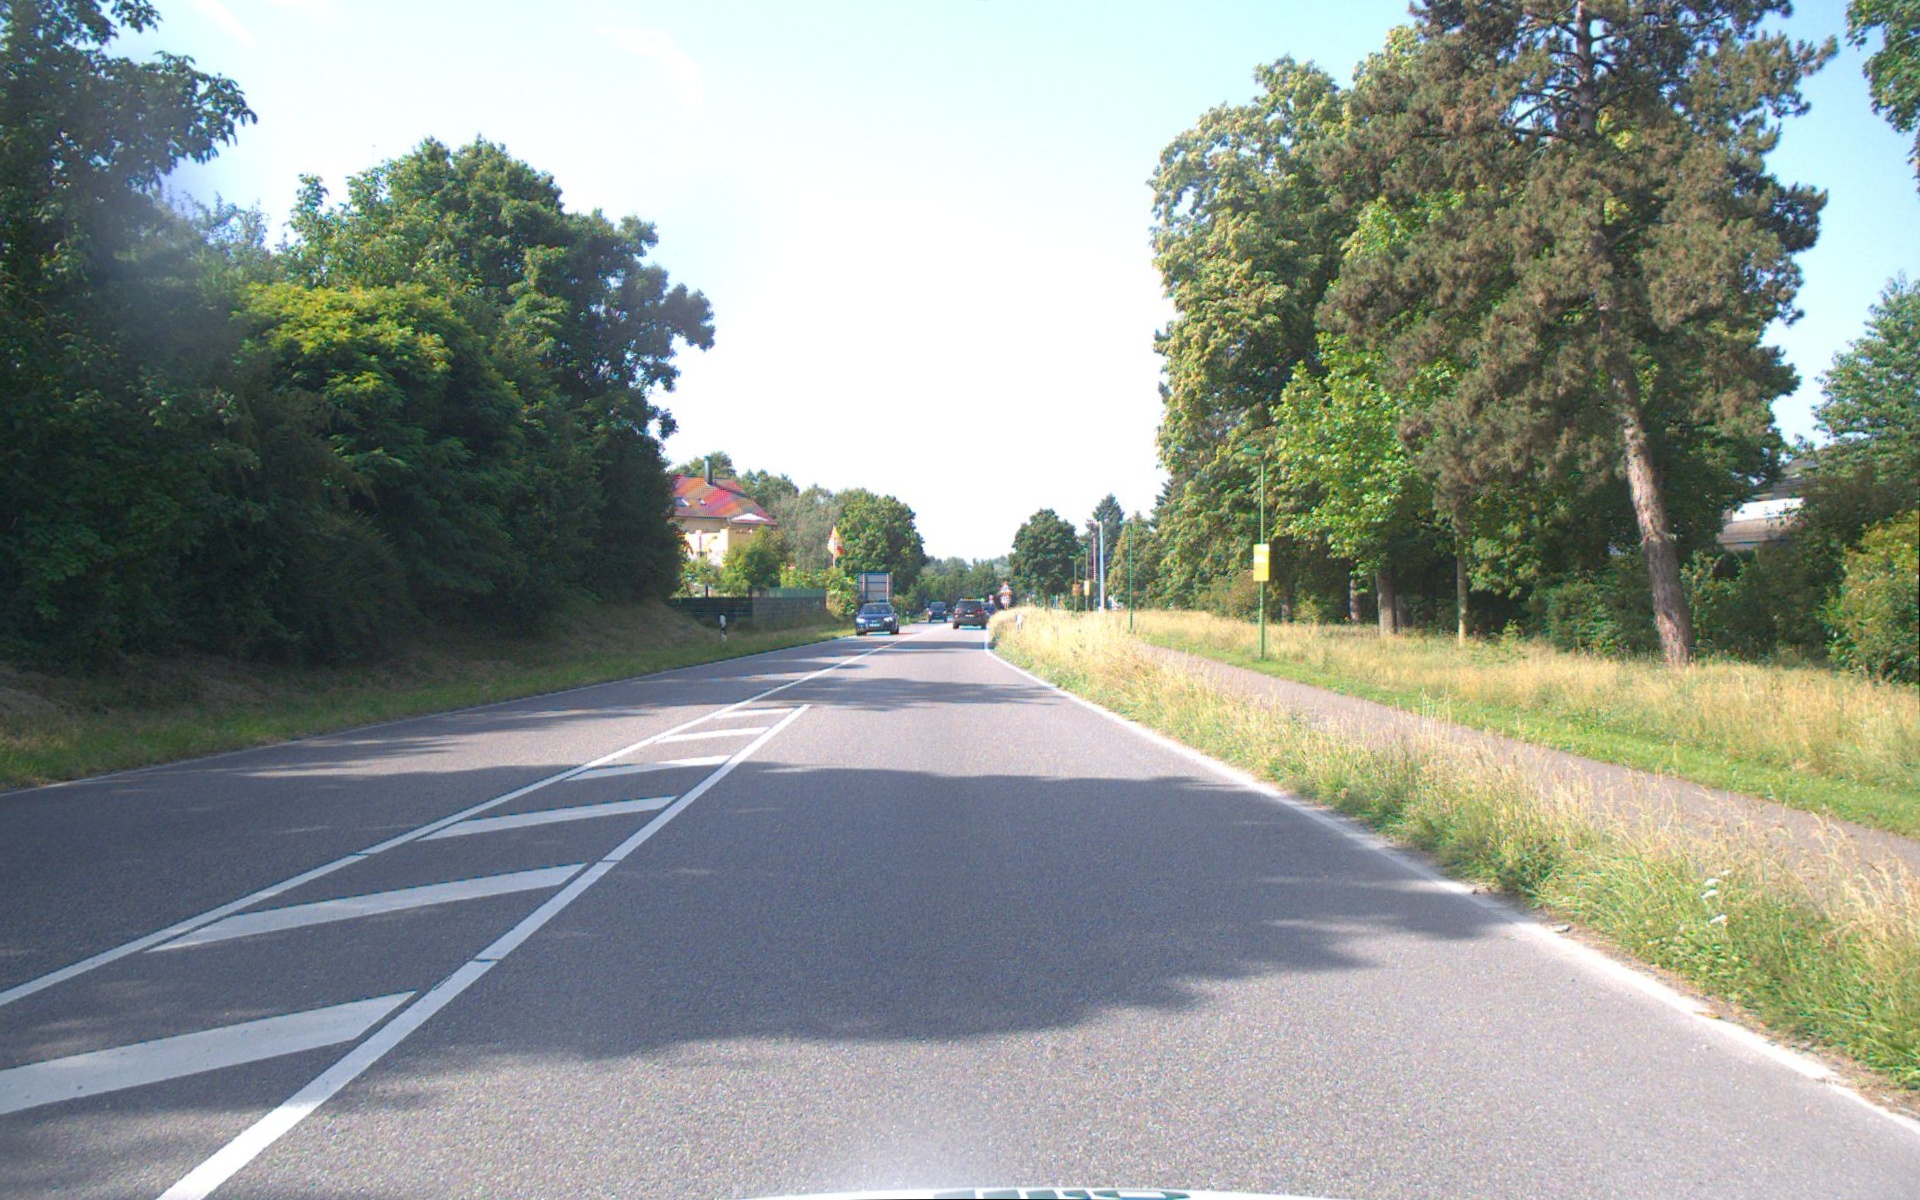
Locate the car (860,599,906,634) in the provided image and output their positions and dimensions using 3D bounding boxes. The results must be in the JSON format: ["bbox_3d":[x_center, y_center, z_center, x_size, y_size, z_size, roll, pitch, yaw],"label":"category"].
[{"bbox_3d":[-3.509,0.744,75.679,1.832,1.448,4.577,-2,0,0],"label":"car"}]

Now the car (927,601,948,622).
[{"bbox_3d":[-2.144,1.068,154.840,1.900,1.849,4.240,-1,0,-1],"label":"car"}]

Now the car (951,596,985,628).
[{"bbox_3d":[0.430,0.668,96.332,1.886,1.802,3.999,0,0,-1],"label":"car"}]

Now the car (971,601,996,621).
[{"bbox_3d":[1.812,0.872,130.091,1.701,1.542,3.912,0,0,-3],"label":"car"}]
